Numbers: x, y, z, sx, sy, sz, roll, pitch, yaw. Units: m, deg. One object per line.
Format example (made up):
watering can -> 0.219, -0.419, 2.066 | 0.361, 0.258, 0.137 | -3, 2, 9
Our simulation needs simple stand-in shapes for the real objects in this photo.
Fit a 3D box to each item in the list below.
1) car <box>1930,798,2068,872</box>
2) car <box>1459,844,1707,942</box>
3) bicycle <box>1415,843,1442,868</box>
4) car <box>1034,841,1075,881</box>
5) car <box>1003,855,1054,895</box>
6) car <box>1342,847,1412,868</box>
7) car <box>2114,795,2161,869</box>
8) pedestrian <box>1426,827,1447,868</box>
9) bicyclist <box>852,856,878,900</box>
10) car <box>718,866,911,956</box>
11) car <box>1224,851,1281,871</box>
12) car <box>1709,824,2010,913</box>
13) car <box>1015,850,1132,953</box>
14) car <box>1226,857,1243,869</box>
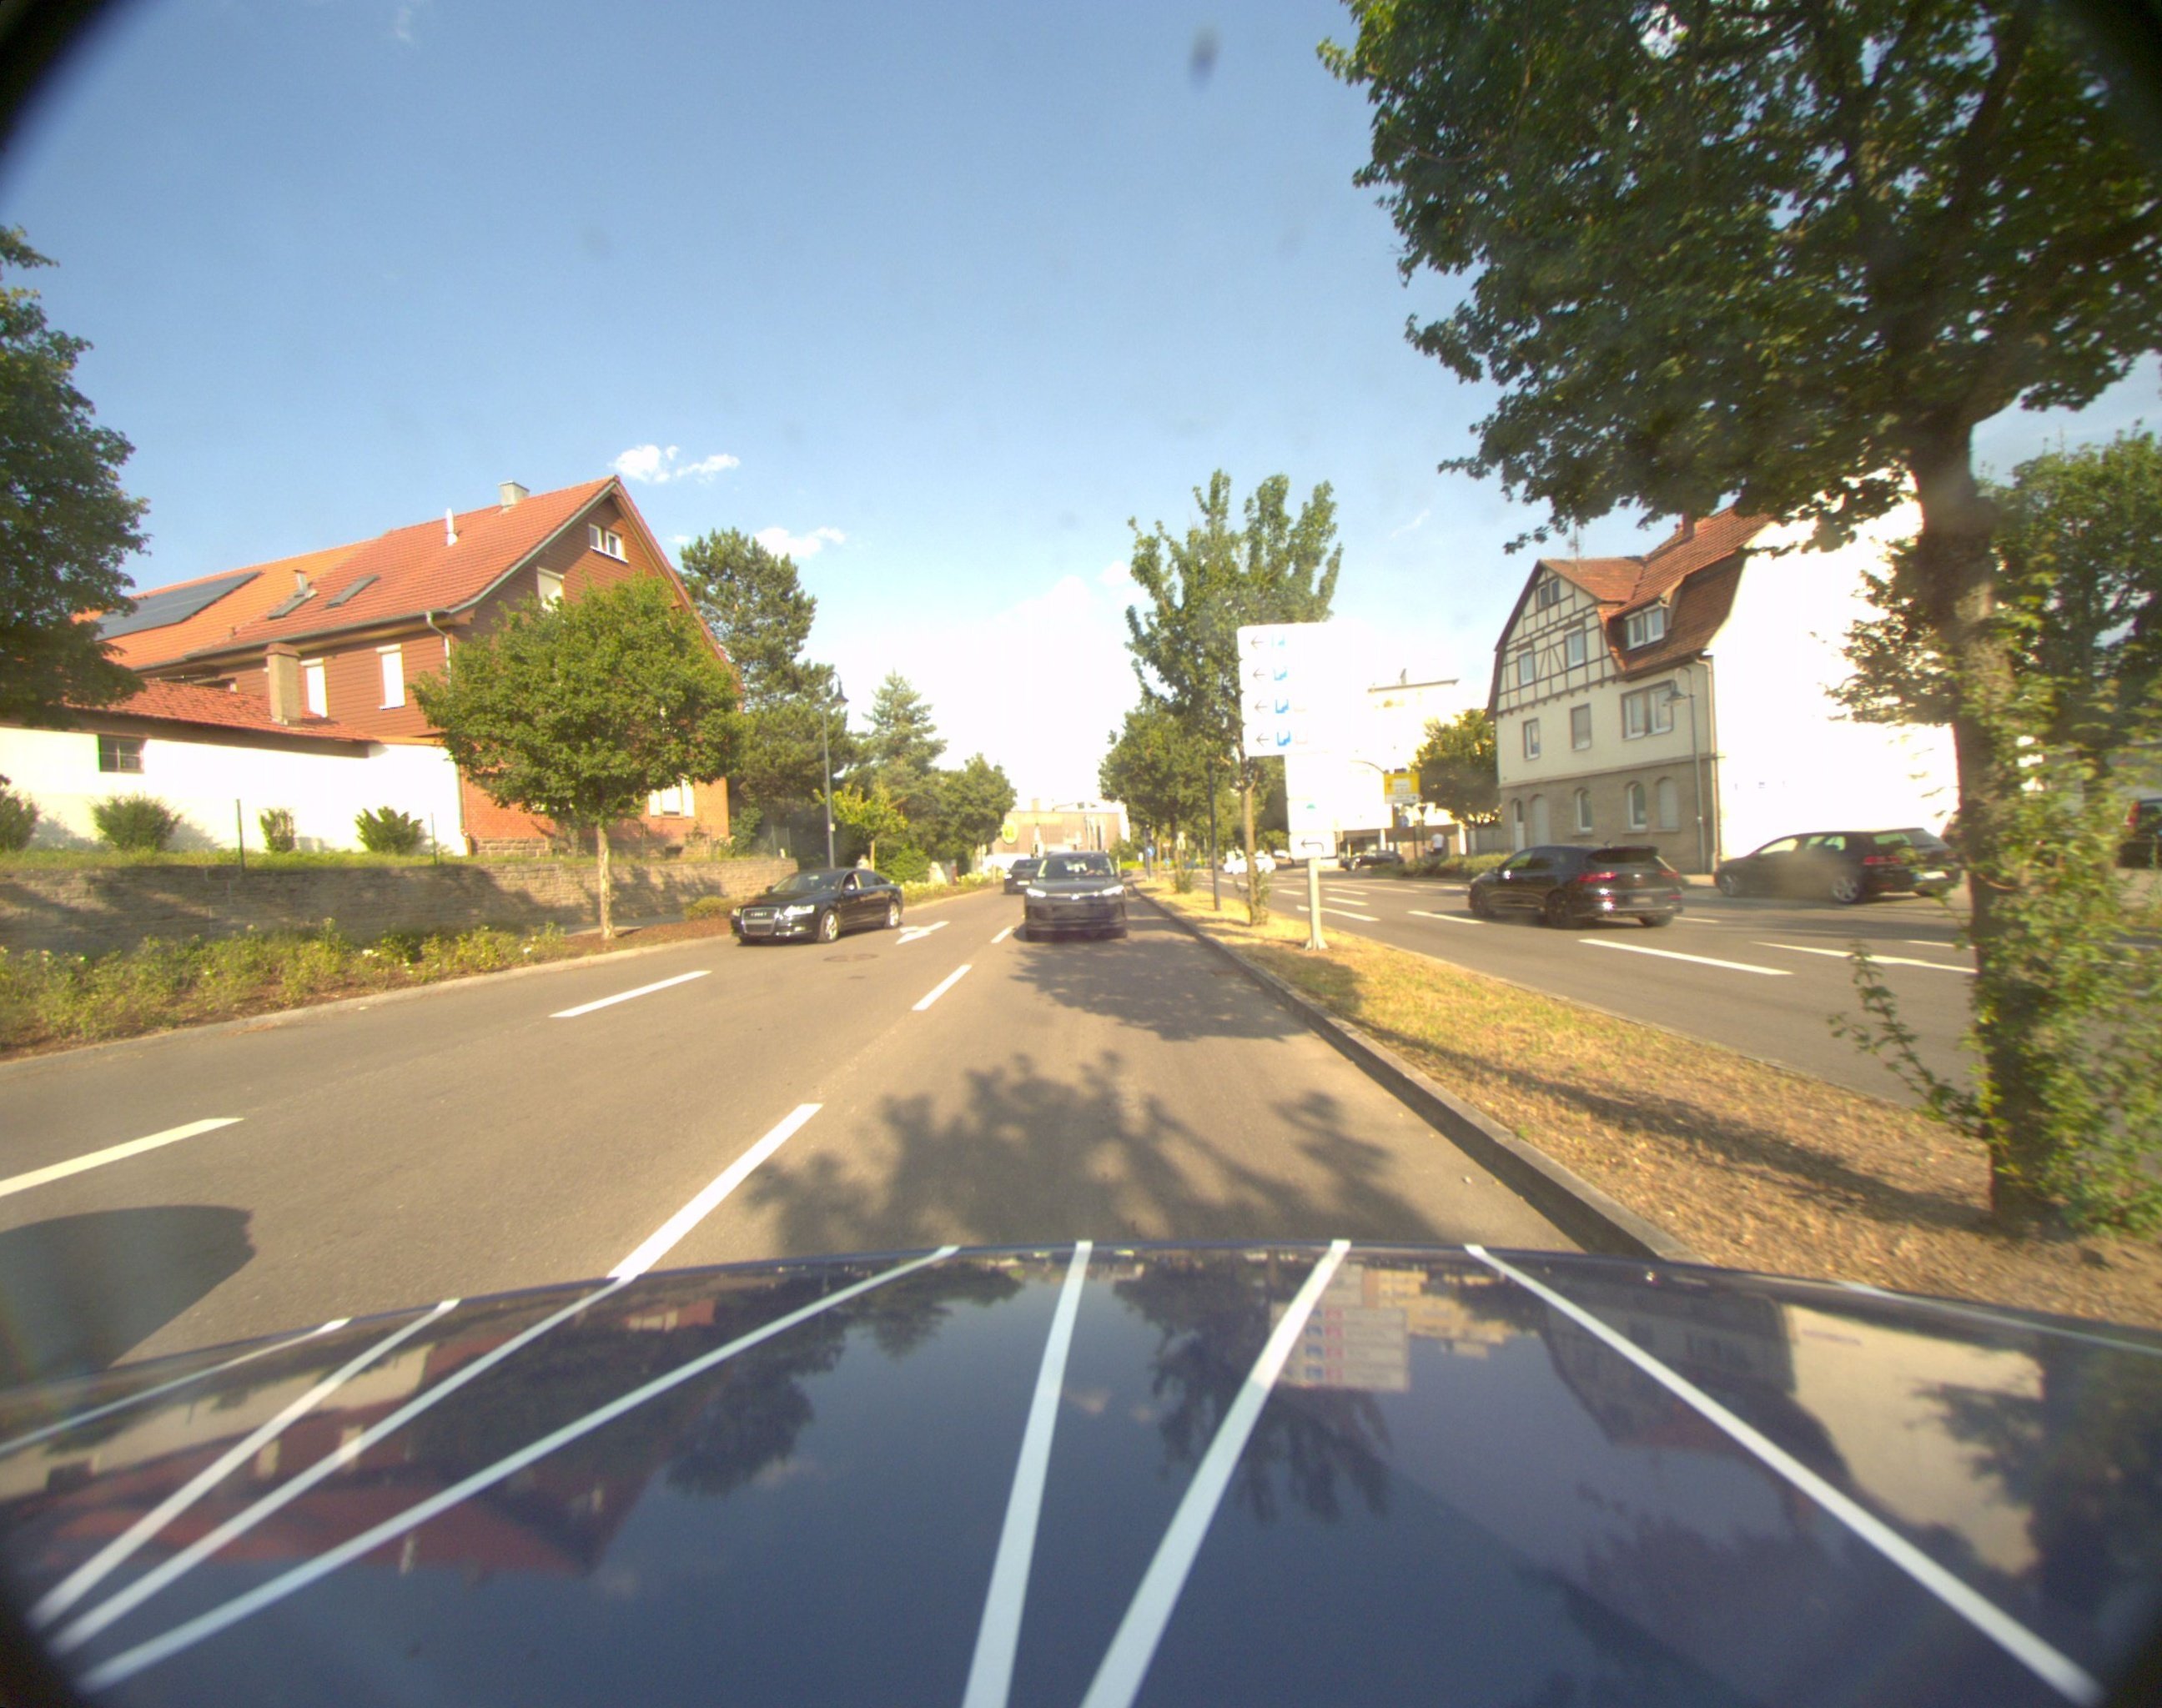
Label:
car -> 23.025, -0.483, 19.032 | 4.006, 1.543, 1.764 | -5, 1, -34
car -> 8.809, 0.588, 13.829 | 1.773, 1.442, 4.107 | -2, 1, 0
bicycle -> 17.584, 0.061, 38.521 | 0.681, 1.215, 1.514 | -2, 1, 2
car -> -1.722, 0.419, 51.897 | 2.370, 2.532, 6.192 | -2, 1, 1
car -> -2.331, 0.923, 34.576 | 1.886, 1.599, 4.127 | -2, 1, 1
car -> 22.521, 0.261, 57.891 | 4.661, 1.346, 1.768 | -2, 1, 9
car -> 24.530, -0.545, 16.832 | 4.006, 1.543, 1.763 | -3, 1, -34
pedestrian -> 17.538, -0.301, 37.511 | 0.699, 1.971, 0.588 | -2, 1, 2
bicyclist -> -8.573, 0.950, 30.166 | 0.603, 1.668, 0.735 | -2, 1, 13
car -> -5.281, 1.065, 15.819 | 1.684, 1.427, 4.592 | -2, 1, 10
car -> 13.358, 0.570, 59.350 | 4.127, 1.346, 1.767 | -2, 1, 3
car -> 15.704, 0.242, 15.731 | 1.839, 1.436, 4.194 | -6, 1, 0
car -> -0.088, 0.791, 15.135 | 1.894, 1.647, 4.729 | -2, 1, 1
car -> 19.532, 1.098, 96.330 | 1.764, 1.346, 4.166 | -2, 1, 16
